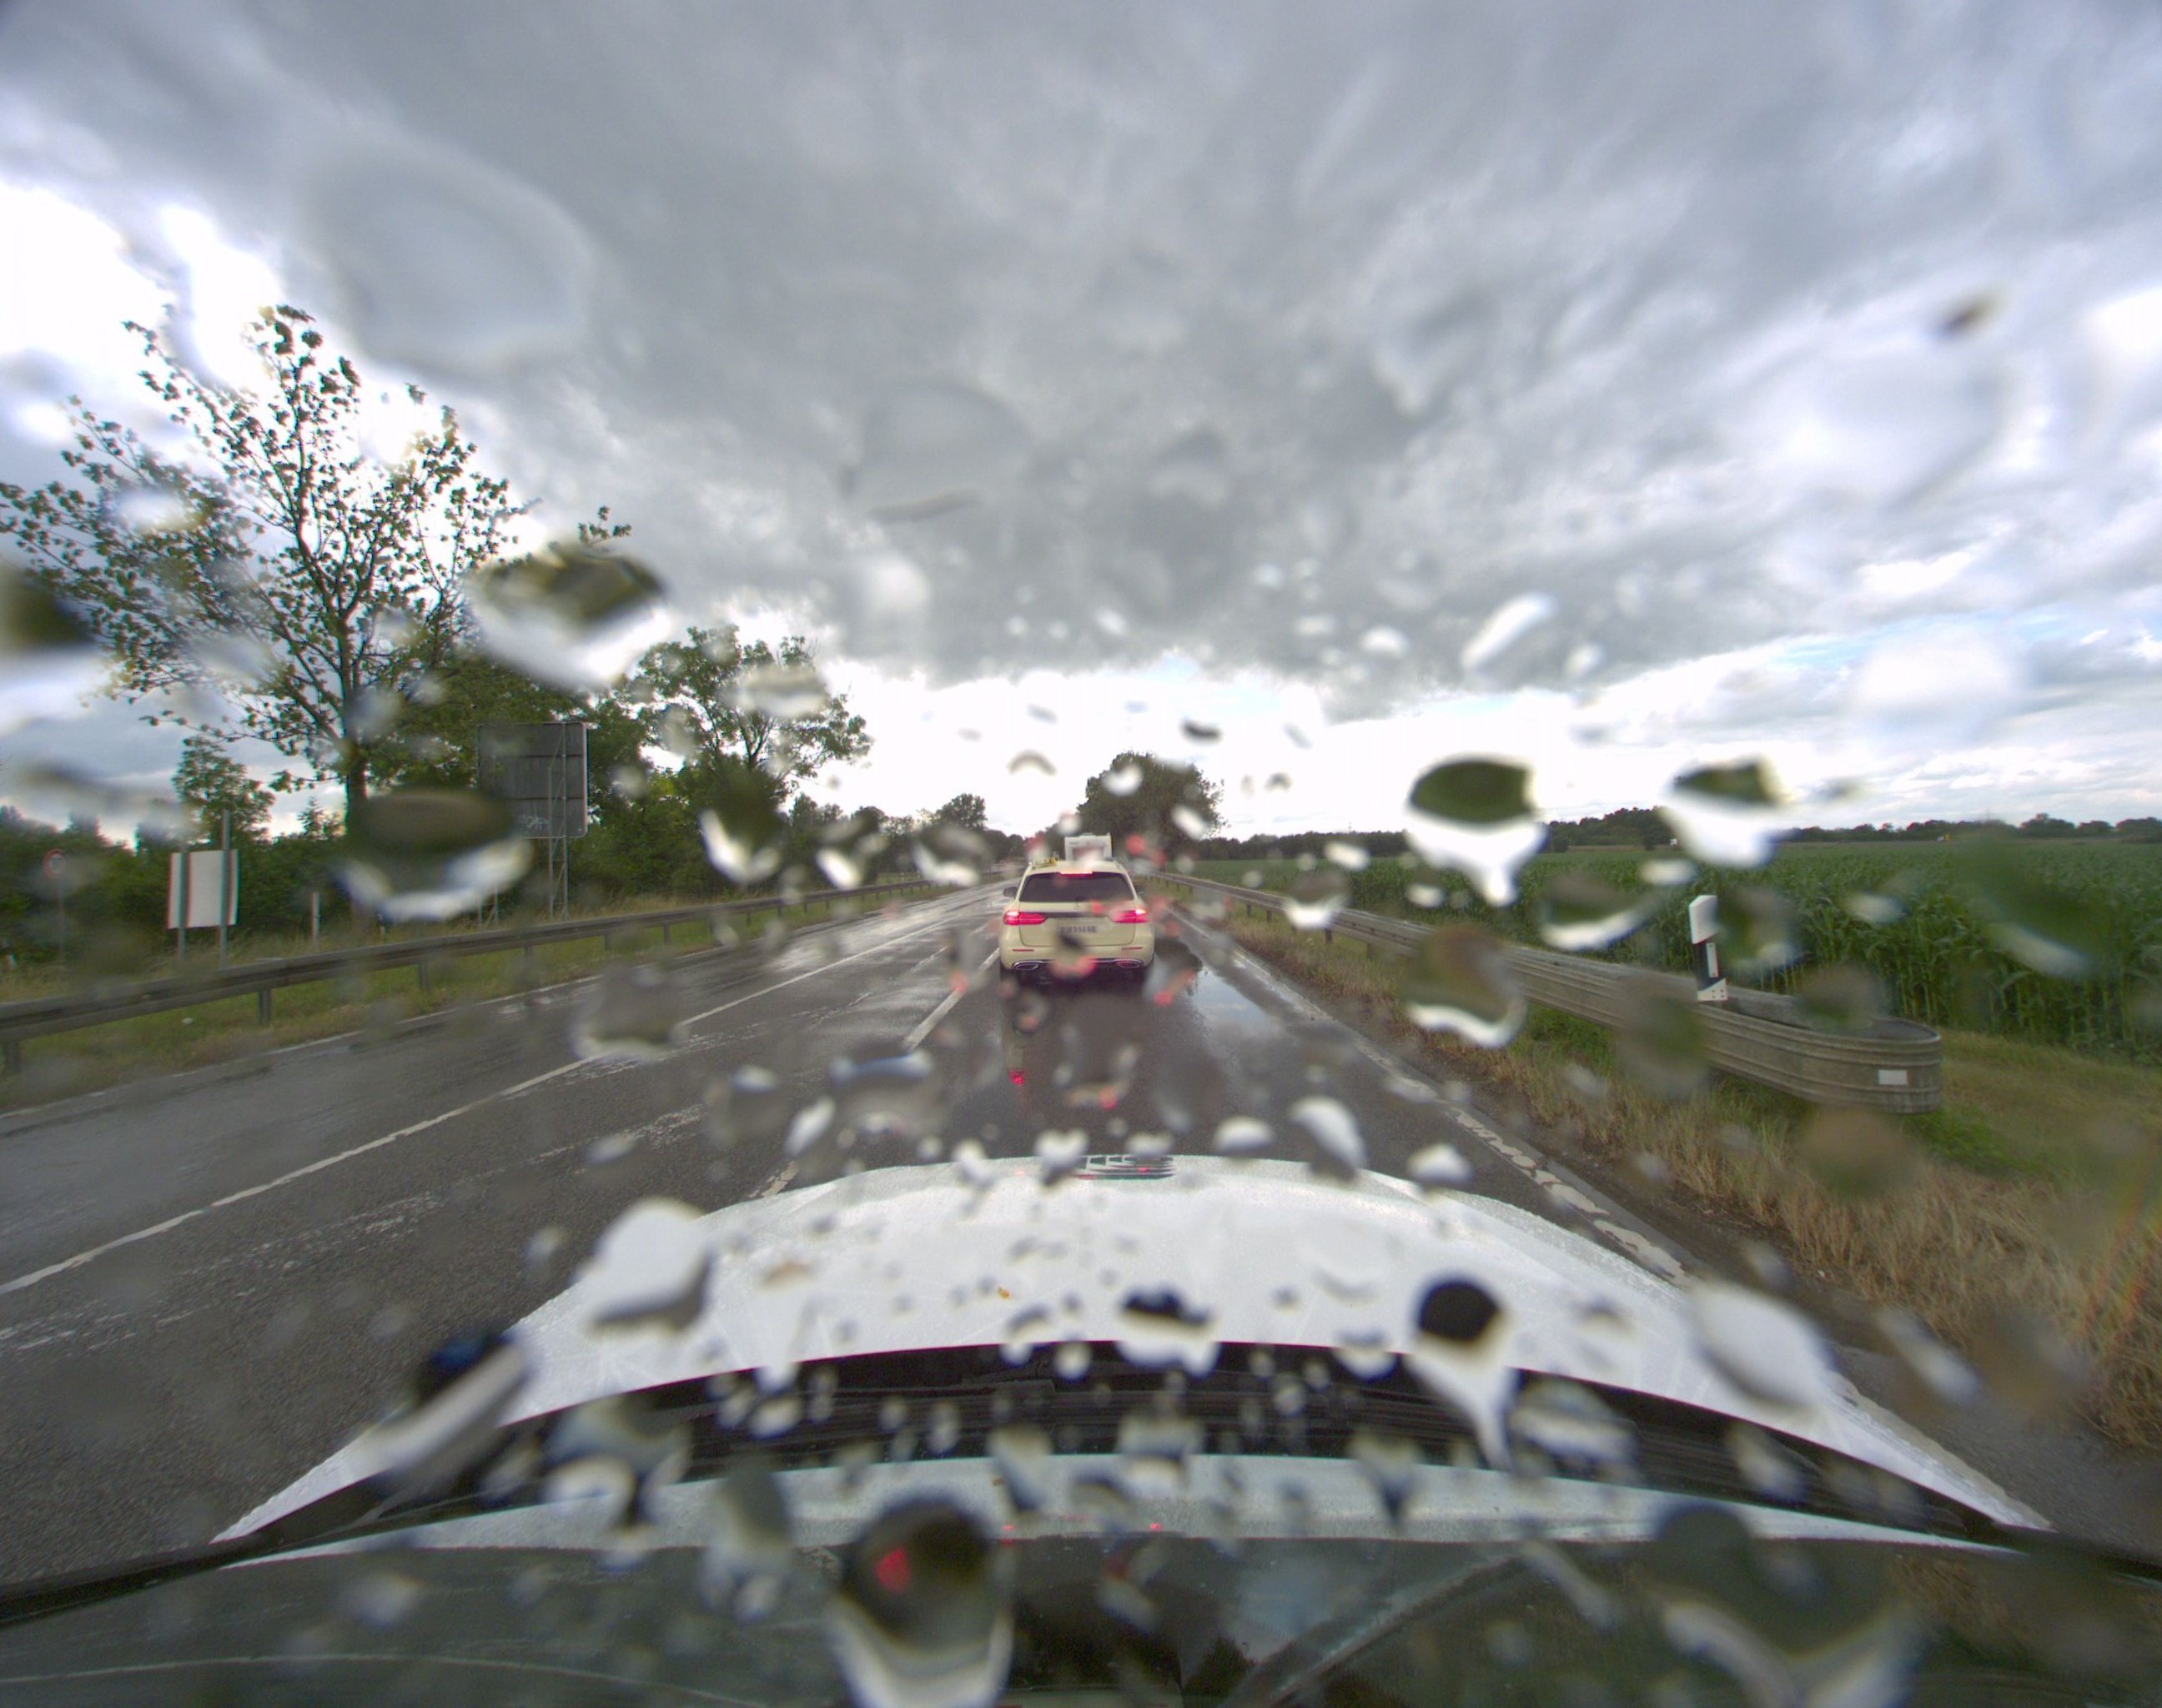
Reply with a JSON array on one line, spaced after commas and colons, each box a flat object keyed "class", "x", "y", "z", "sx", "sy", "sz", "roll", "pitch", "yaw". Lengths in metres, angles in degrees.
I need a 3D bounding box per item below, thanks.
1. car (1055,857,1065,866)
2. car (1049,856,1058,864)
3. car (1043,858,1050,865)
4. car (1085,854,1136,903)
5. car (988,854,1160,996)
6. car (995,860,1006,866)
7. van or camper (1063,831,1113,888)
[{"class": "car", "x": -4.897, "y": 1.823, "z": 192.903, "sx": 1.986, "sy": 2.051, "sz": 4.002, "roll": -1, "pitch": 0, "yaw": 2}, {"class": "car", "x": -6.903, "y": 1.419, "z": 205.544, "sx": 1.988, "sy": 2.014, "sz": 3.998, "roll": -1, "pitch": 0, "yaw": -1}, {"class": "car", "x": -10.217, "y": 2.289, "z": 241.049, "sx": 1.990, "sy": 2.013, "sz": 3.994, "roll": -1, "pitch": 0, "yaw": -4}, {"class": "car", "x": 0.986, "y": 0.791, "z": 28.361, "sx": 1.621, "sy": 1.529, "sz": 3.933, "roll": -2, "pitch": 0, "yaw": 1}, {"class": "car", "x": 0.002, "y": 0.770, "z": 10.811, "sx": 1.818, "sy": 1.485, "sz": 4.147, "roll": -1, "pitch": 0, "yaw": 2}, {"class": "car", "x": -19.906, "y": 2.224, "z": 201.666, "sx": 1.986, "sy": 1.651, "sz": 4.002, "roll": -1, "pitch": 0, "yaw": 2}, {"class": "van or camper", "x": 0.393, "y": 0.268, "z": 42.156, "sx": 2.342, "sy": 2.680, "sz": 5.769, "roll": -1, "pitch": 0, "yaw": 1}]
